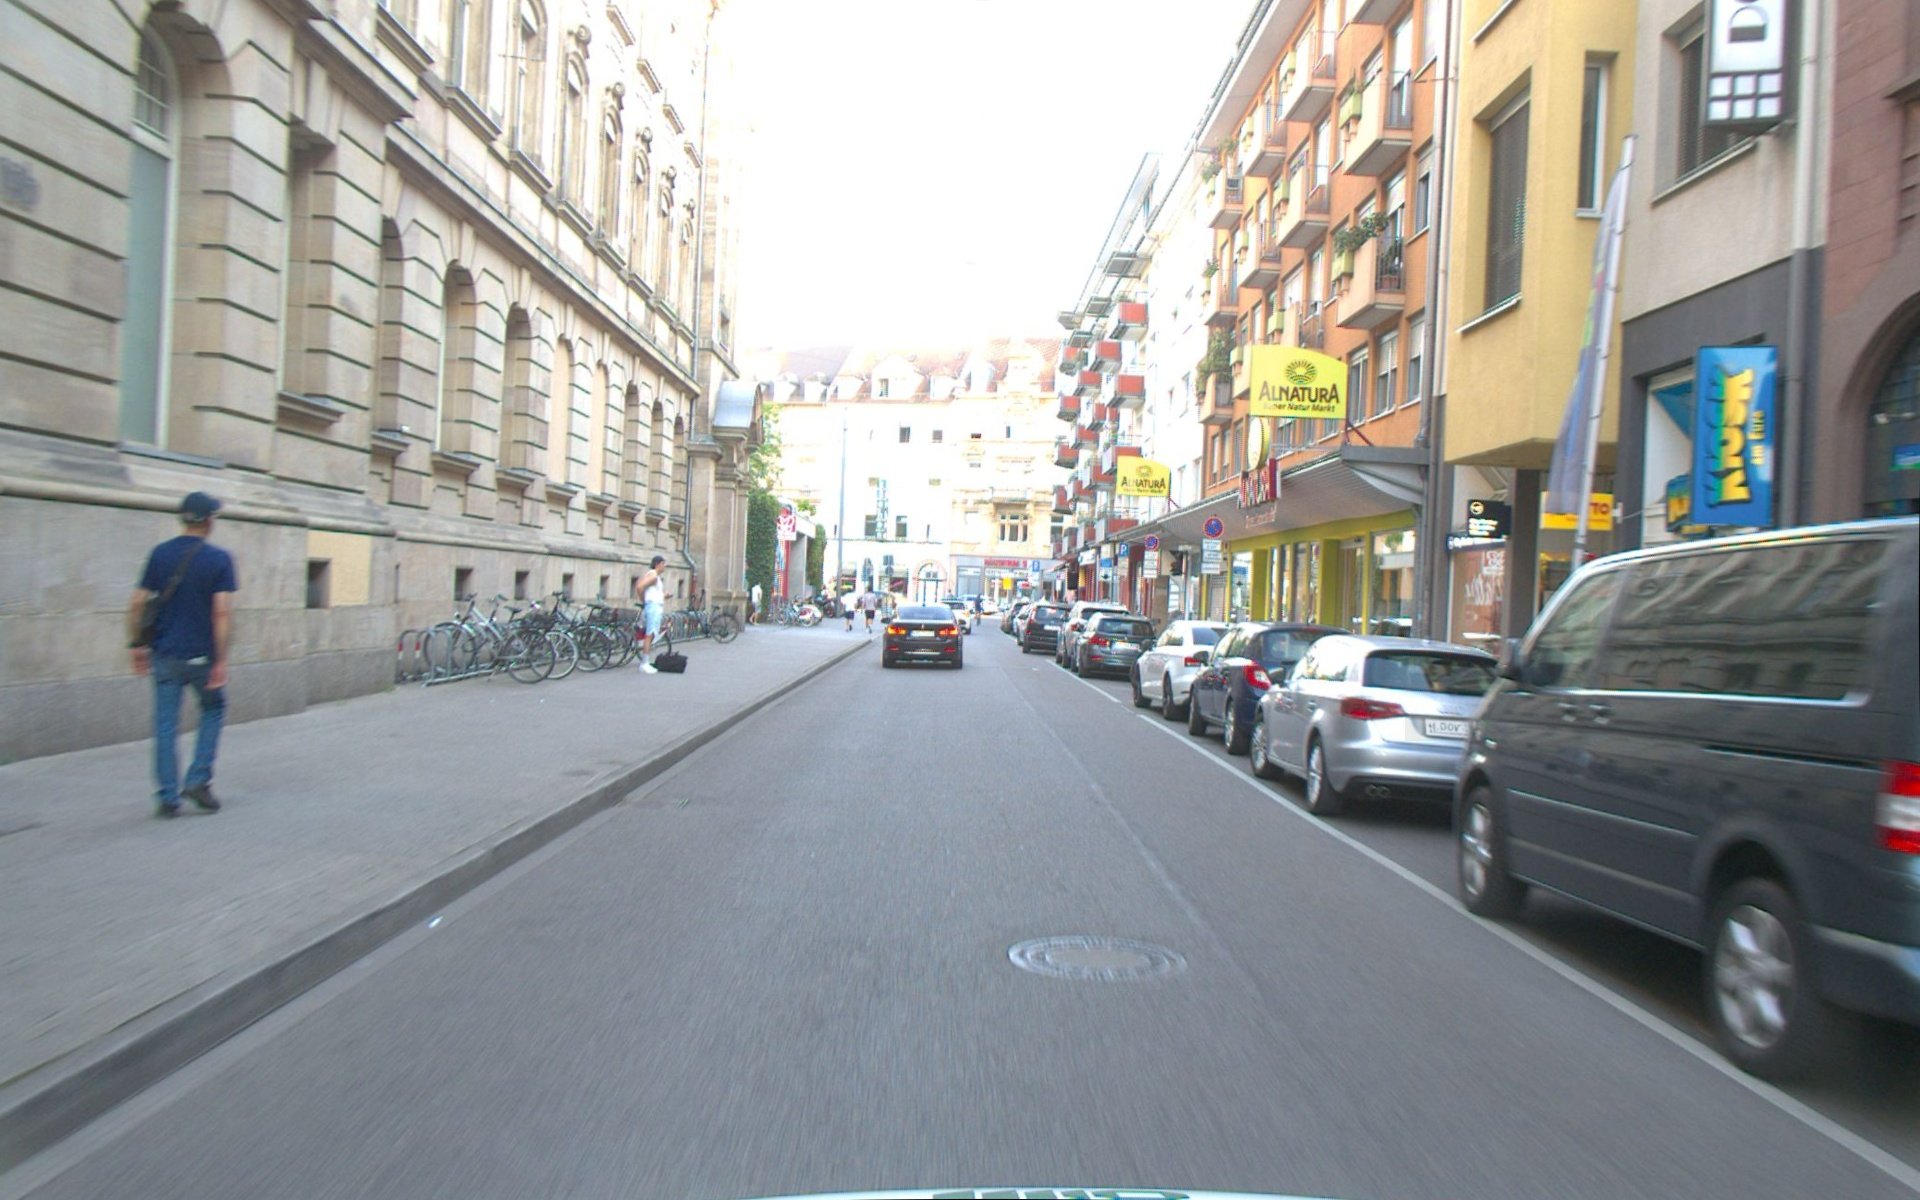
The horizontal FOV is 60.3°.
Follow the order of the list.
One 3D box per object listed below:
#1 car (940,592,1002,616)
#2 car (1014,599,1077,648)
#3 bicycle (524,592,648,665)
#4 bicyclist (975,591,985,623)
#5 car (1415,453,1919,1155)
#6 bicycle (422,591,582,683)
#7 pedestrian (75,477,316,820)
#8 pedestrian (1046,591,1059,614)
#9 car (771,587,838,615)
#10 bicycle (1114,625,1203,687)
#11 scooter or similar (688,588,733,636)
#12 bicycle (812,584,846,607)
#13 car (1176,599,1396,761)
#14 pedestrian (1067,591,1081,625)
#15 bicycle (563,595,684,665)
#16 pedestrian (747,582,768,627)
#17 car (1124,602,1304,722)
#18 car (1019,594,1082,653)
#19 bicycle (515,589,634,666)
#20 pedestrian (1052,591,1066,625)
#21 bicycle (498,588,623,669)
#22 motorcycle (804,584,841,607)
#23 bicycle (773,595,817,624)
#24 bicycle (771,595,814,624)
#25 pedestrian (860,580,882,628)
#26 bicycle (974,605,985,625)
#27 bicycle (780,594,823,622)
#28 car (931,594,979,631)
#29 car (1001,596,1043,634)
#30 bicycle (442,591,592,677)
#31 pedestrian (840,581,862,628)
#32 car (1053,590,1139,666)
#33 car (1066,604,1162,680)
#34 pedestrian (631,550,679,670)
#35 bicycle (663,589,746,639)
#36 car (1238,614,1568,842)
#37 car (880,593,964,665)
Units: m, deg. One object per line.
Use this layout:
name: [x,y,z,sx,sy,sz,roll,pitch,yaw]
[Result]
car: [0.820,0.304,125.372,4.263,1.589,1.868,2,-1,22]
car: [2.911,0.788,57.263,1.702,1.439,4.680,5,1,-2]
bicycle: [-6.218,0.476,27.563,1.900,1.080,0.619,4,-1,-7]
bicyclist: [1.129,0.403,94.274,0.513,1.787,0.620,3,0,0]
car: [3.742,0.661,7.454,1.809,2.094,5.053,3,0,-1]
bicycle: [-6.098,0.491,22.083,1.898,1.080,0.619,4,-1,-2]
pedestrian: [-4.260,0.261,9.299,0.793,1.781,0.969,4,-1,-1]
pedestrian: [5.298,0.149,95.099,0.672,1.309,0.609,1,-1,9]
car: [-9.353,0.060,99.407,3.913,1.527,1.888,2,0,-9]
bicycle: [3.707,1.055,30.832,1.723,1.074,0.649,3,0,-42]
scooter or similar: [-6.824,0.327,45.251,1.113,1.254,0.495,3,0,-13]
bicycle: [-7.140,-0.262,89.961,1.760,1.127,0.499,4,0,-6]
car: [3.739,0.850,19.657,1.586,1.542,4.172,4,1,-2]
pedestrian: [5.736,0.418,83.169,0.634,1.690,0.794,-1,0,1]
bicycle: [-5.805,0.513,28.610,1.899,1.080,0.619,4,-1,-3]
pedestrian: [-8.209,0.192,66.983,0.702,1.785,0.848,2,0,-2]
car: [3.691,0.854,24.828,1.658,1.435,4.636,5,1,-3]
car: [2.870,0.694,51.886,1.757,1.637,4.488,5,1,4]
bicycle: [-6.217,0.445,26.749,1.760,1.127,0.499,4,-1,-7]
pedestrian: [4.986,0.395,83.156,0.634,1.690,0.655,-1,0,1]
bicycle: [-6.155,0.440,25.549,1.760,1.127,0.499,4,-1,-7]
motorcycle: [-7.254,-0.244,87.183,1.765,1.082,0.764,4,0,25]
bicycle: [-6.973,0.406,69.881,1.758,1.127,0.500,3,0,-1]
bicycle: [-7.102,0.402,70.225,1.758,1.127,0.500,3,0,-2]
pedestrian: [-3.675,0.157,68.070,0.729,1.926,1.050,3,0,0]
bicycle: [1.107,0.857,94.296,0.525,1.127,1.800,3,0,0]
bicycle: [-6.939,0.348,72.403,1.757,1.127,0.500,3,0,2]
car: [-0.202,0.529,72.907,1.838,1.498,4.002,2,0,3]
car: [3.018,0.715,81.376,1.729,1.670,4.790,4,1,0]
bicycle: [-6.225,0.475,23.329,1.900,1.080,0.619,4,-1,-7]
pedestrian: [-4.468,0.180,67.665,0.726,1.844,1.008,4,0,-1]
car: [3.447,0.660,42.645,1.716,1.697,4.756,4,1,0]
car: [3.441,0.908,37.677,1.657,1.439,4.756,5,1,0]
pedestrian: [-4.938,0.161,26.791,0.576,1.883,0.753,4,0,-6]
bicycle: [-6.404,0.351,41.468,1.906,1.080,0.617,6,-1,-16]
car: [3.673,0.970,14.542,1.652,1.478,4.498,5,1,1]
car: [-0.810,0.611,37.691,1.729,1.398,4.790,3,1,0]
